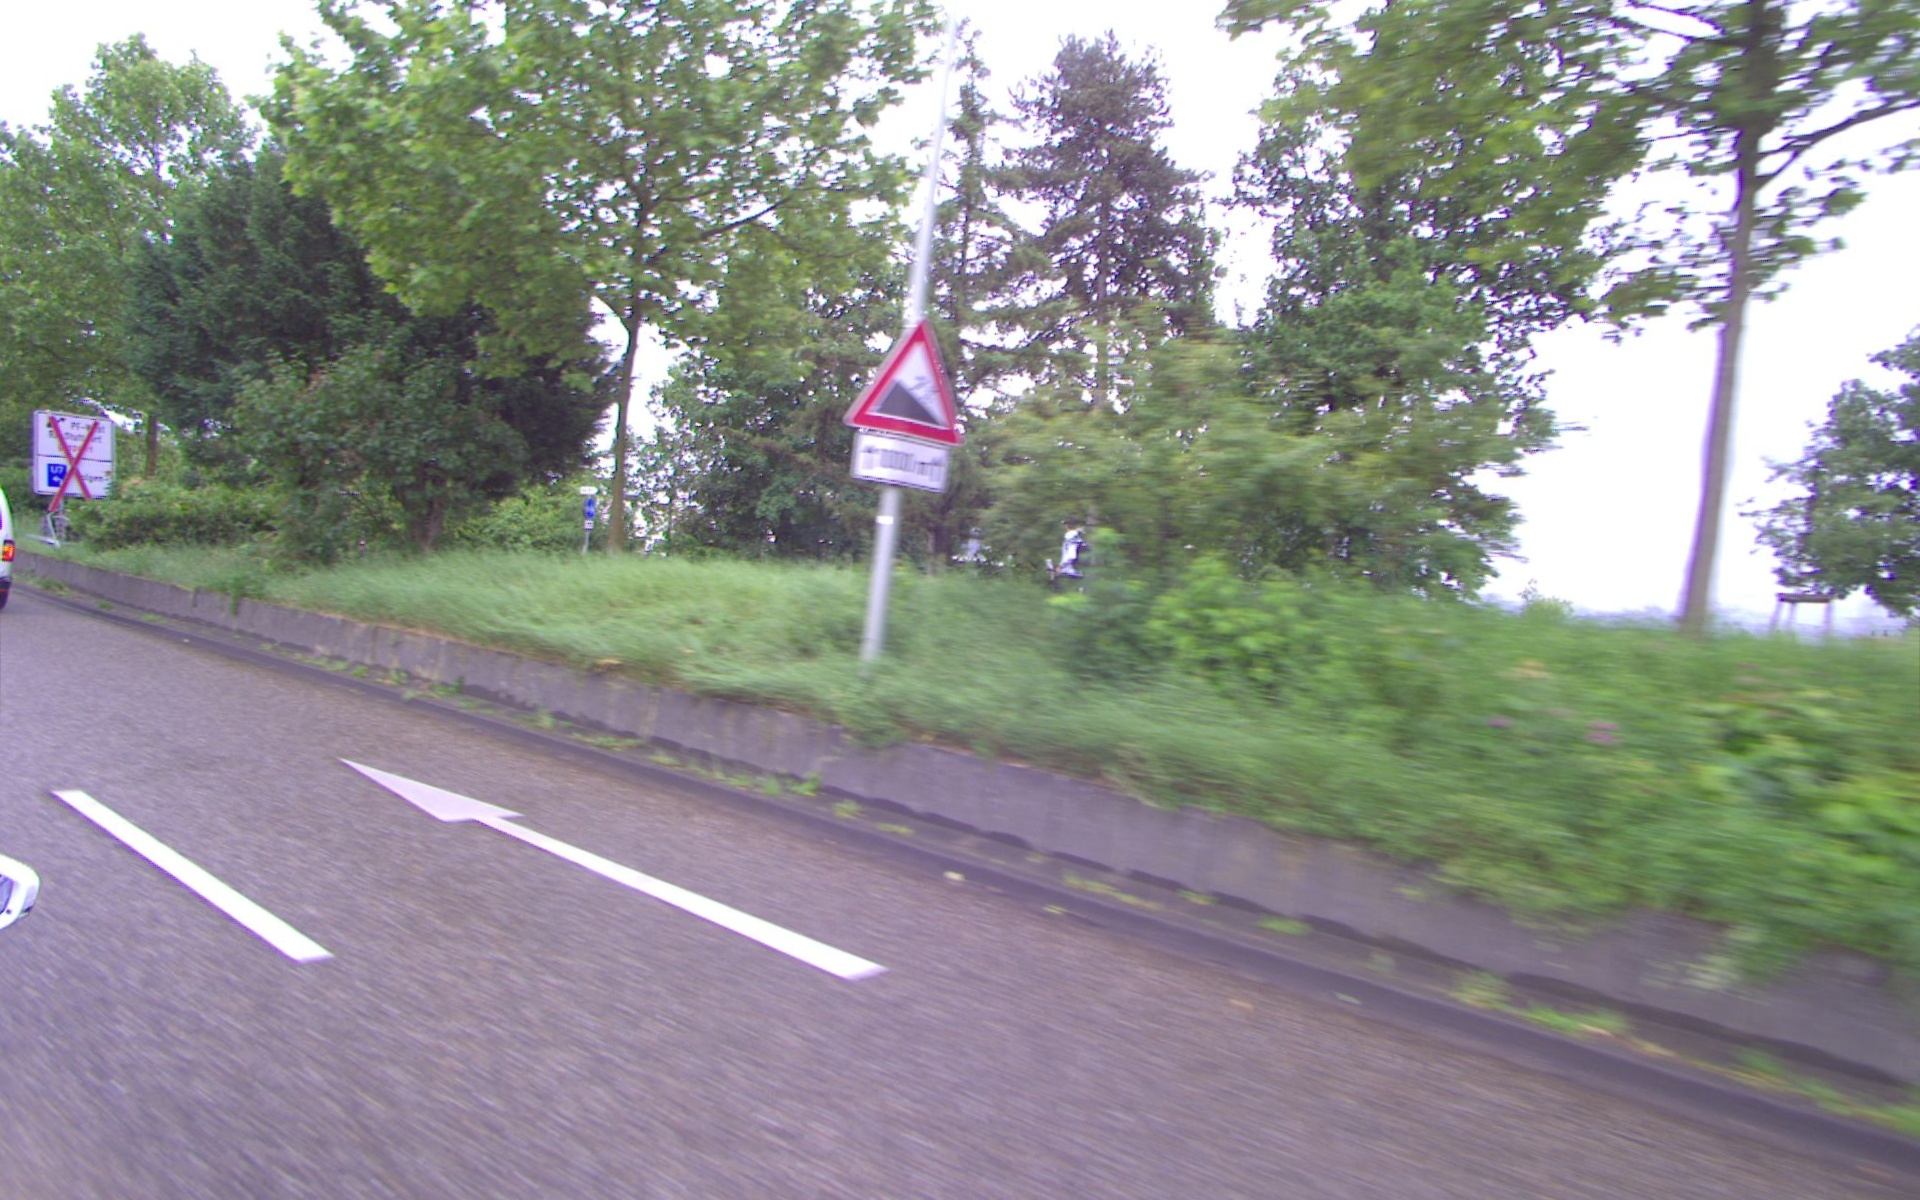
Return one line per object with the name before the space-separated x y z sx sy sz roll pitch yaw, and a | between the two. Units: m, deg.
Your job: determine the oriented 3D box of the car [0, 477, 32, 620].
car | -14.910 -0.973 14.217 3.744 1.900 1.766 9 1 35
